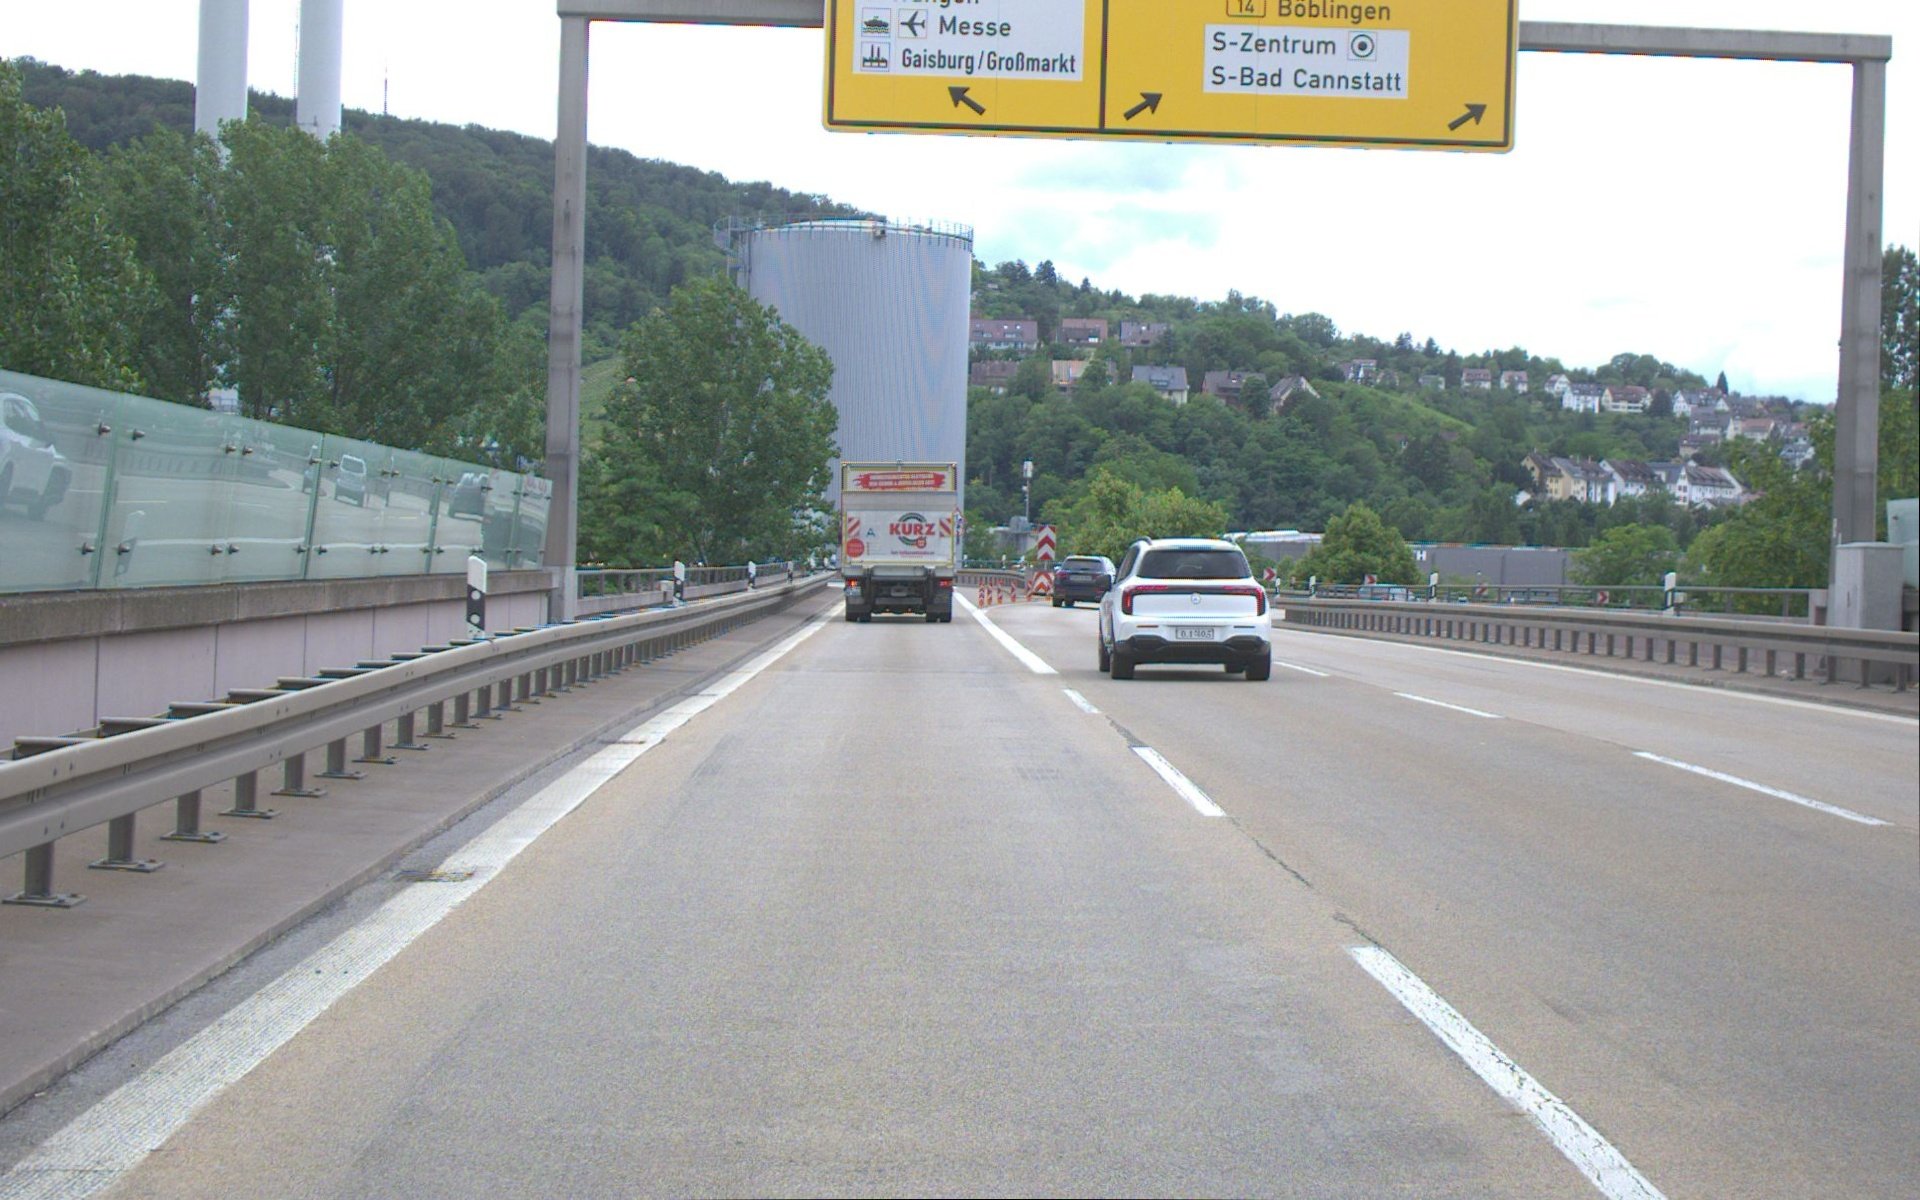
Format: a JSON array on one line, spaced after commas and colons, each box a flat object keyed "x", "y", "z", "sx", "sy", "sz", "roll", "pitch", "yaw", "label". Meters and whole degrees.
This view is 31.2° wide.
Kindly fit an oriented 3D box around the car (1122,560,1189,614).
[{"x": 6.773, "y": -0.471, "z": 119.325, "sx": 1.923, "sy": 1.779, "sz": 4.114, "roll": 1, "pitch": 1, "yaw": -2, "label": "car"}]

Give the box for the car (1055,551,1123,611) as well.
[{"x": 4.003, "y": -0.615, "z": 107.121, "sx": 1.924, "sy": 1.779, "sz": 4.113, "roll": 1, "pitch": 1, "yaw": 0, "label": "car"}]

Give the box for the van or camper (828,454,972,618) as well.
[{"x": -1.301, "y": -1.445, "z": 79.514, "sx": 3.122, "sy": 3.567, "sz": 8.550, "roll": 0, "pitch": 1, "yaw": 0, "label": "van or camper"}]

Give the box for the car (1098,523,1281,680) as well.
[{"x": 2.710, "y": -0.024, "z": 41.385, "sx": 1.924, "sy": 1.779, "sz": 4.113, "roll": 1, "pitch": 1, "yaw": 0, "label": "car"}]
